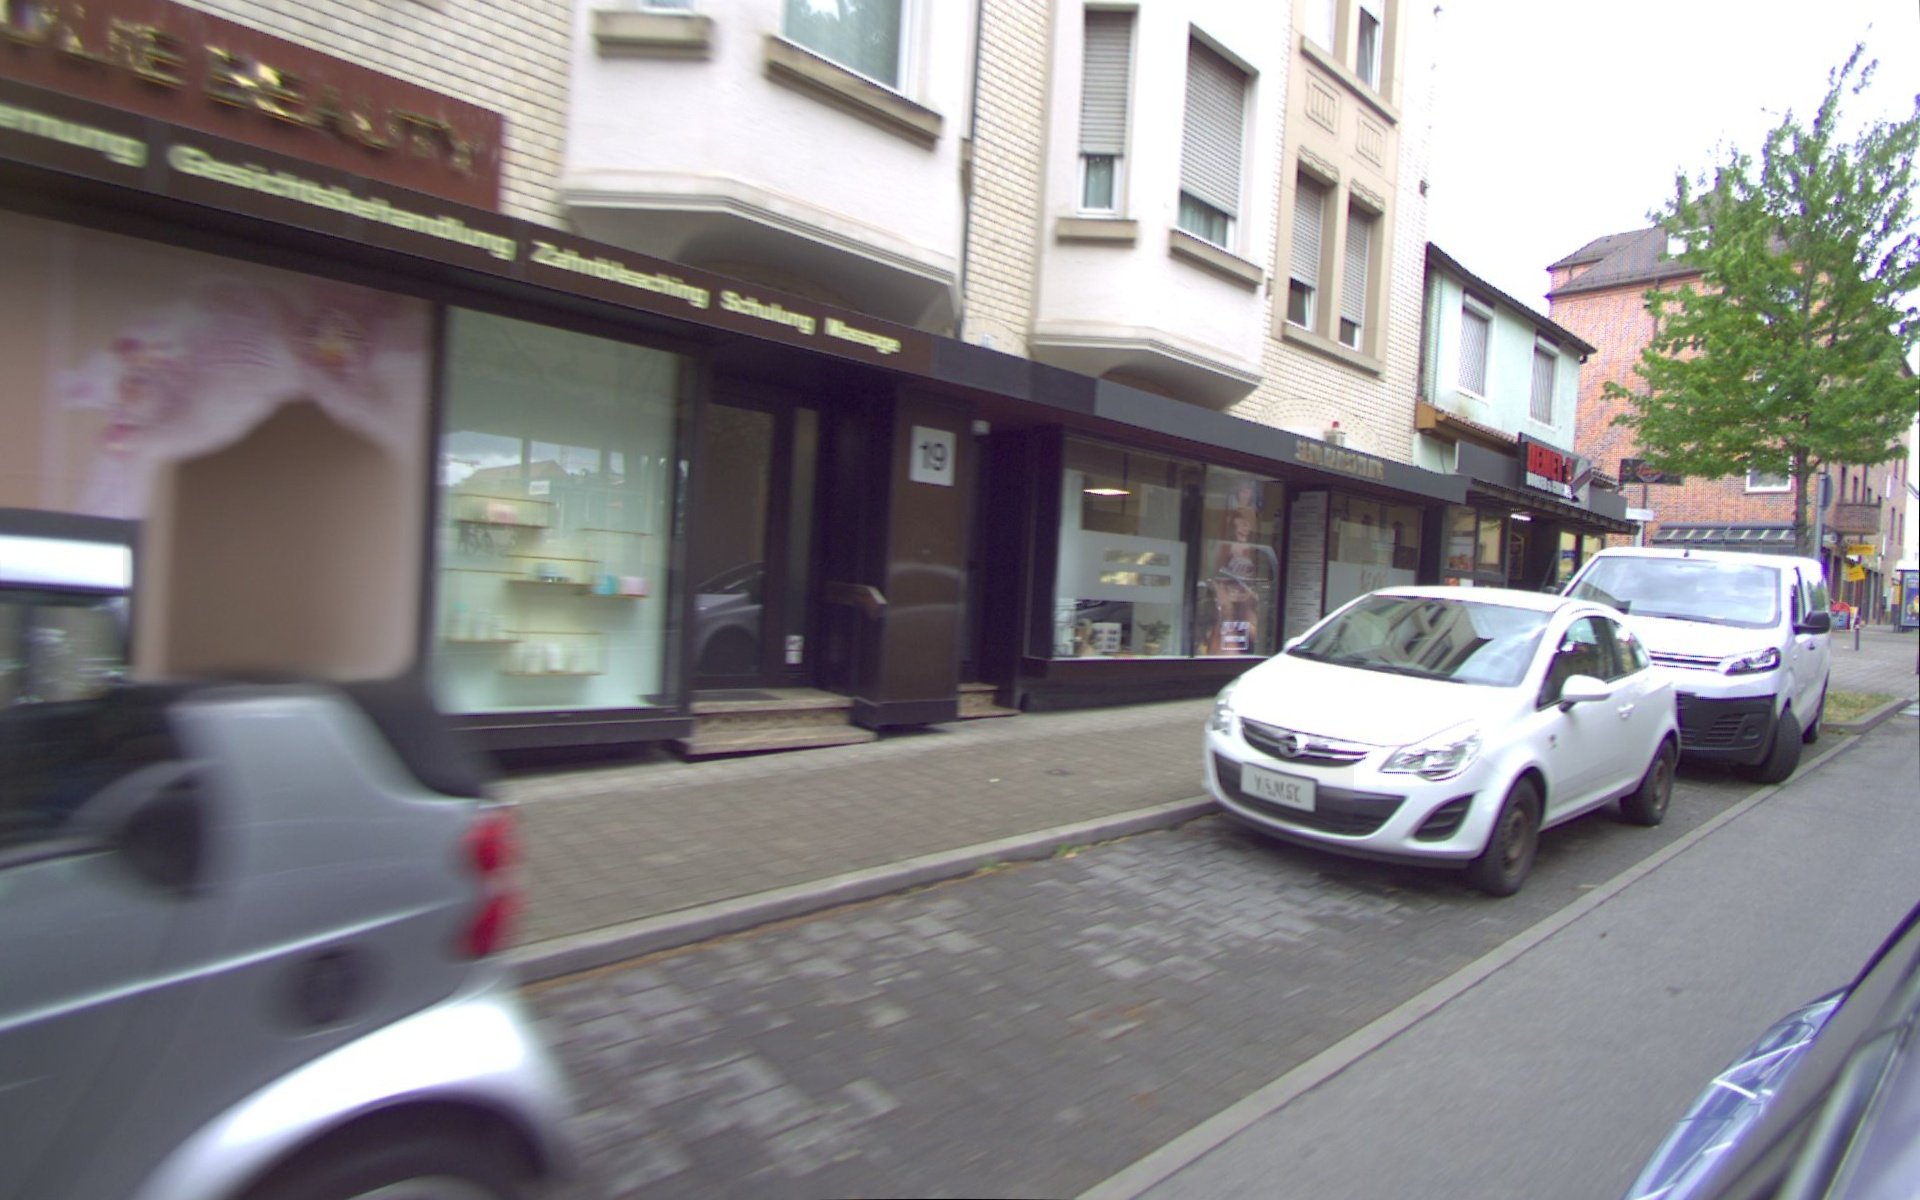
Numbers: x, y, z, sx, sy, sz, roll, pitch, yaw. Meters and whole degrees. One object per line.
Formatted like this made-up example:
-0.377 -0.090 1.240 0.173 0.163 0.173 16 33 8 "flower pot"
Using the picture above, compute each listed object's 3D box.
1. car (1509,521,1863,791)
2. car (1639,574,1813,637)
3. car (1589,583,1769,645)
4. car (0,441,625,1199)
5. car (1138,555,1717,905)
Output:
7.190 0.347 9.784 4.840 1.953 1.908 0 4 -45 "car"
23.386 0.118 31.106 1.911 1.820 3.946 0 1 -13 "car"
20.881 0.342 29.613 1.884 1.694 4.009 0 1 -15 "car"
-2.422 0.515 1.284 3.460 1.553 1.485 0 3 -41 "car"
3.057 0.529 6.232 3.970 1.432 1.687 0 4 -41 "car"
